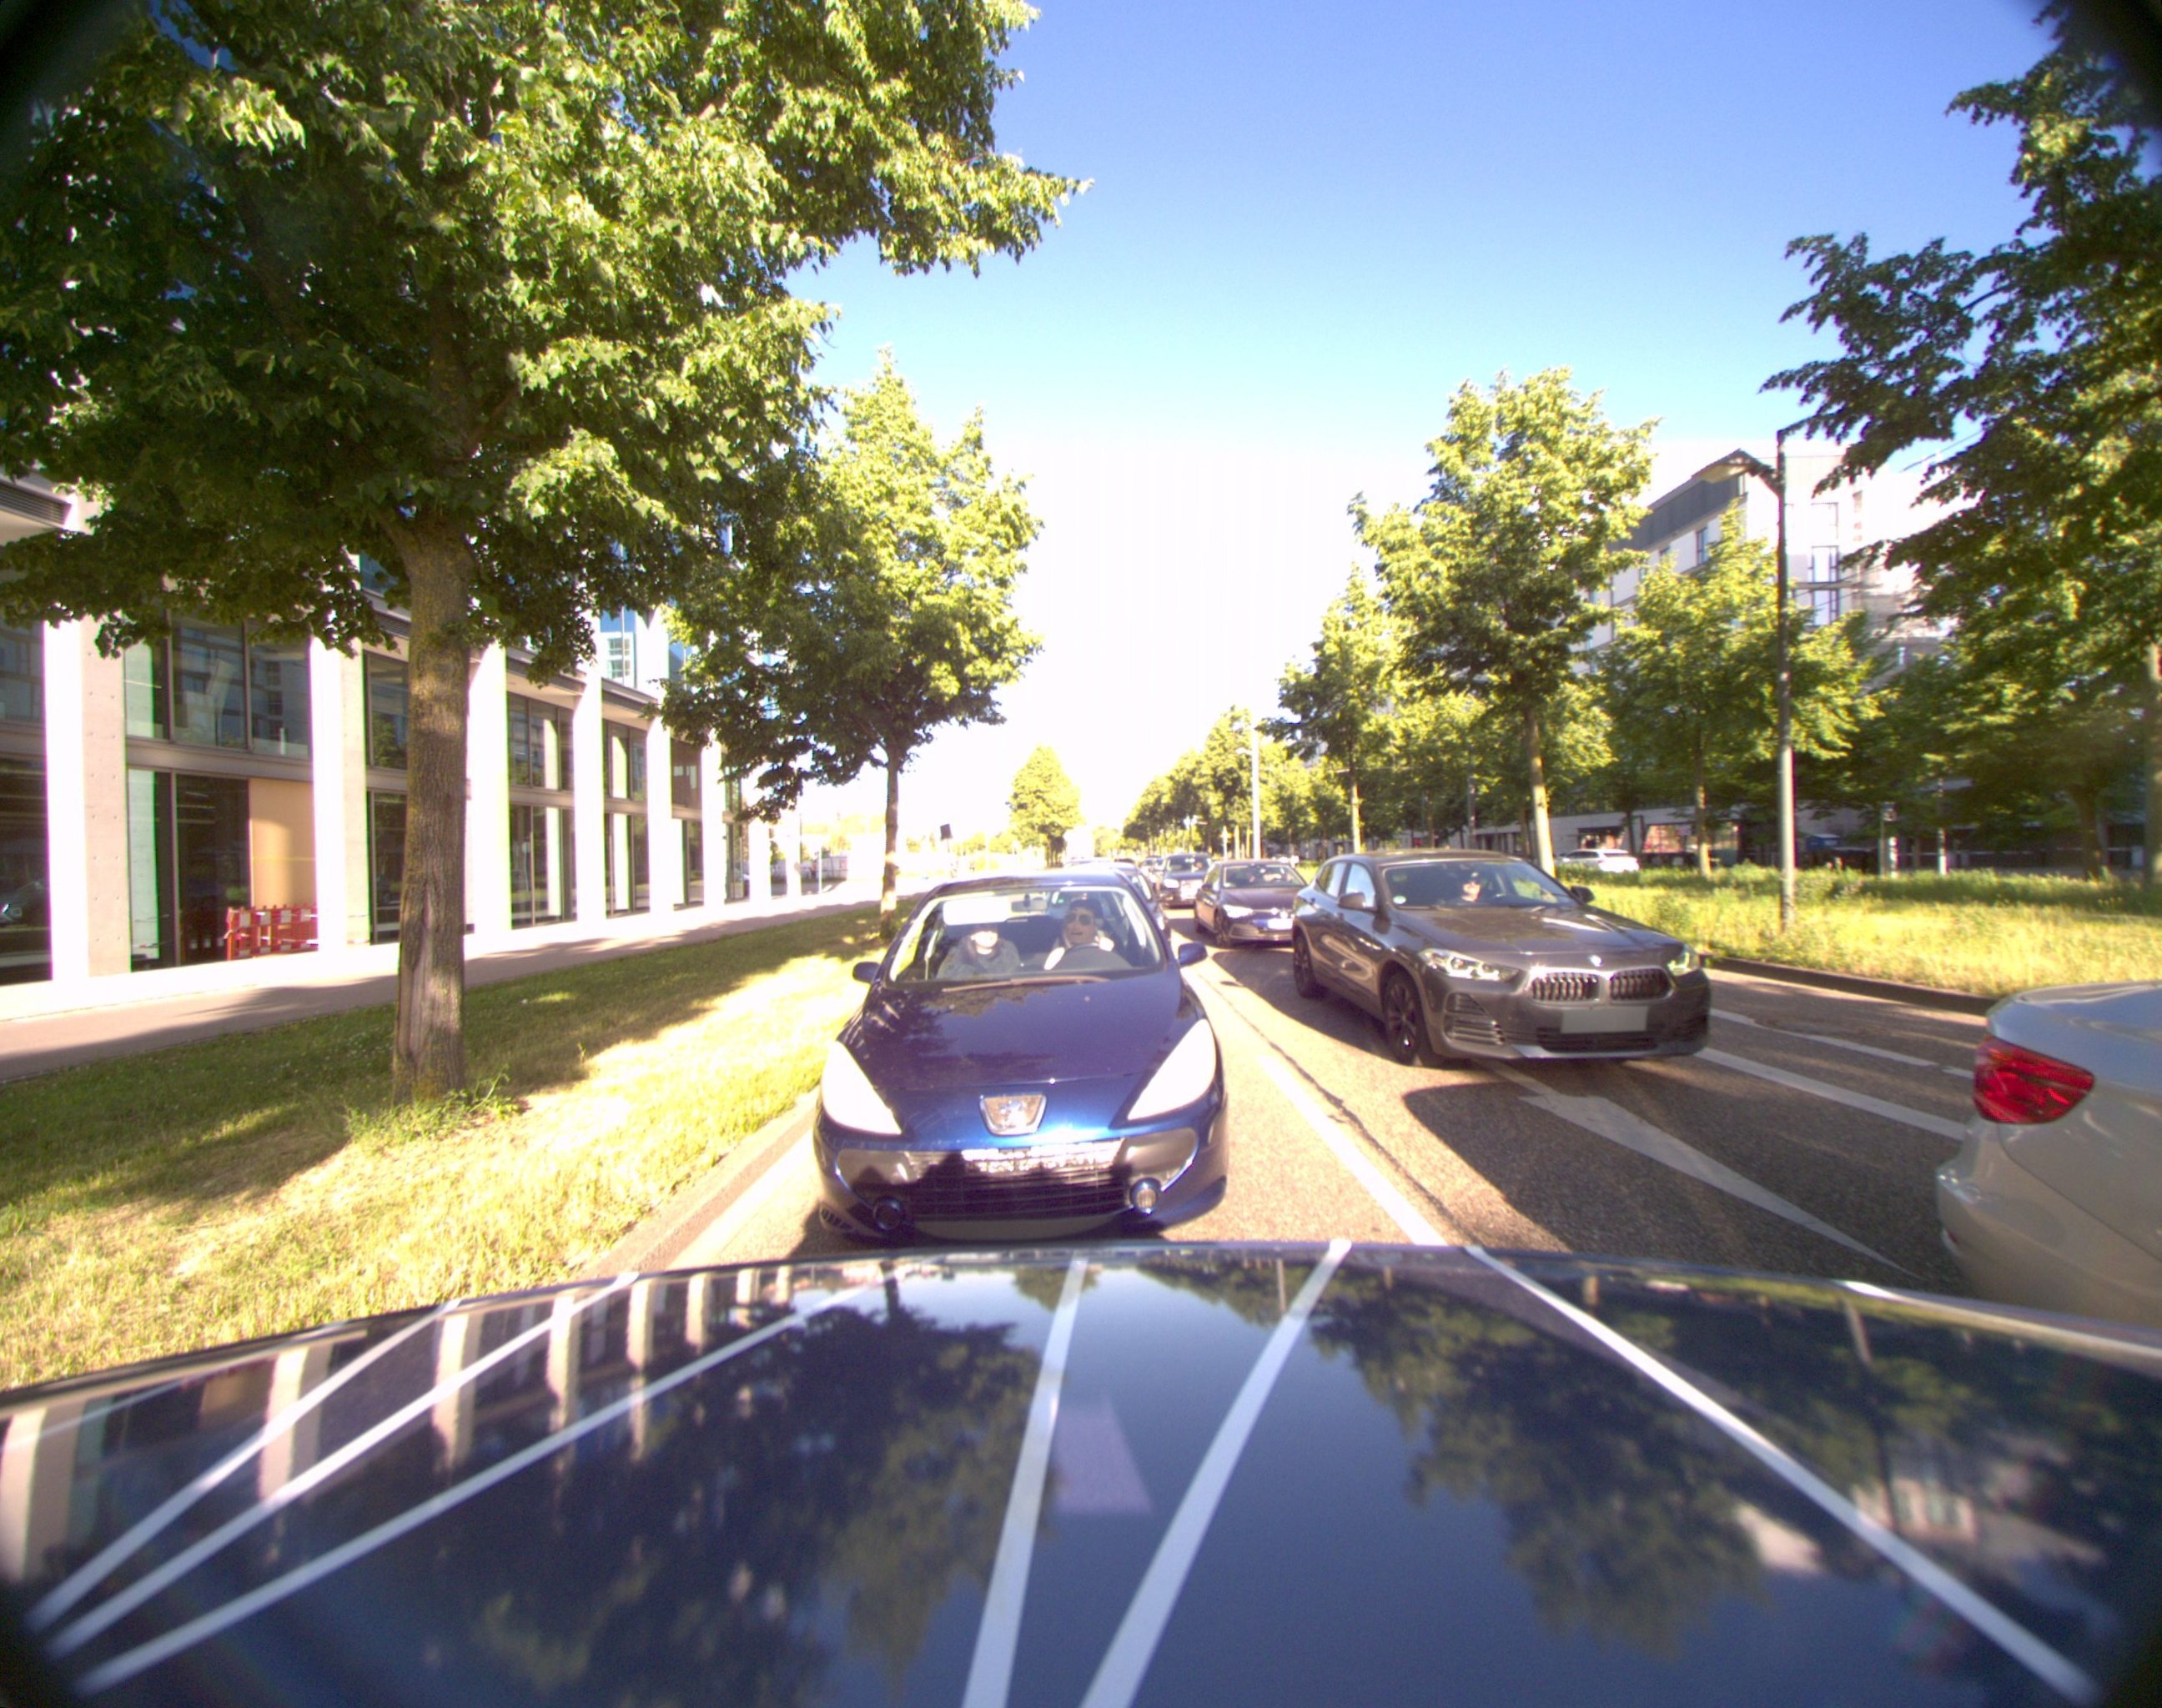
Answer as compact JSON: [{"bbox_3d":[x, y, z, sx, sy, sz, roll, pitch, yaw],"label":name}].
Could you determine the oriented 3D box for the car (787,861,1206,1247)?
[{"bbox_3d":[-0.321,0.842,5.014,1.686,1.513,3.785,-1,0,1],"label":"car"}]

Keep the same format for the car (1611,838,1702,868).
[{"bbox_3d":[34.424,-0.045,45.614,1.858,1.674,4.792,-1,0,1],"label":"car"}]

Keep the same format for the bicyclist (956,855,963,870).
[{"bbox_3d":[-10.484,0.743,65.599,0.534,1.282,0.457,-2,1,1],"label":"bicyclist"}]

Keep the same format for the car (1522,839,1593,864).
[{"bbox_3d":[34.837,-0.178,55.738,2.012,1.689,4.791,-1,0,-3],"label":"car"}]

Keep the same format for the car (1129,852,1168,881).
[{"bbox_3d":[4.263,0.746,48.668,2.012,1.689,4.791,-1,0,-1],"label":"car"}]

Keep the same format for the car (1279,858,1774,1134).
[{"bbox_3d":[3.083,0.828,6.375,1.812,1.513,4.029,-1,0,1],"label":"car"}]

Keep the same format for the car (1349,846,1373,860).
[{"bbox_3d":[34.712,-0.170,94.212,1.601,1.659,3.743,-1,0,1],"label":"car"}]

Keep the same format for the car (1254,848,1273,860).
[{"bbox_3d":[28.652,-0.037,119.156,1.858,1.719,4.792,-1,0,1],"label":"car"}]

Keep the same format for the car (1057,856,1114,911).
[{"bbox_3d":[0.165,0.903,24.897,1.705,1.591,3.785,-1,0,1],"label":"car"}]

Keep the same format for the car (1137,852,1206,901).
[{"bbox_3d":[3.380,0.801,29.235,2.012,1.689,4.791,-1,0,-1],"label":"car"}]

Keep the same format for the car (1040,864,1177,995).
[{"bbox_3d":[0.361,0.944,11.374,1.612,1.463,4.395,-1,0,1],"label":"car"}]

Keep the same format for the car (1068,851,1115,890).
[{"bbox_3d":[0.438,0.728,36.045,2.012,1.689,4.791,-1,0,-1],"label":"car"}]

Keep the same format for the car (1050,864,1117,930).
[{"bbox_3d":[0.086,0.937,18.185,1.407,1.326,3.785,-1,0,1],"label":"car"}]

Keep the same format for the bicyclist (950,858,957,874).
[{"bbox_3d":[-10.274,0.945,61.372,0.448,1.282,0.418,-2,1,1],"label":"bicyclist"}]

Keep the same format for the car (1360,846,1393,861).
[{"bbox_3d":[34.702,-0.059,89.383,2.012,1.689,4.791,-1,0,-1],"label":"car"}]

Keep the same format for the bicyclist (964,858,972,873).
[{"bbox_3d":[-9.147,0.938,61.329,0.534,1.210,0.507,-2,1,1],"label":"bicyclist"}]

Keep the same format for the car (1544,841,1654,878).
[{"bbox_3d":[23.699,0.232,35.023,1.858,1.528,4.735,-1,0,1],"label":"car"}]

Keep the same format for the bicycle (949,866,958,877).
[{"bbox_3d":[-10.263,1.405,61.337,0.415,0.813,1.320,-2,1,1],"label":"bicycle"}]

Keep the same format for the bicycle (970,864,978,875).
[{"bbox_3d":[-9.202,1.329,65.501,0.464,0.813,1.344,-2,1,1],"label":"bicycle"}]

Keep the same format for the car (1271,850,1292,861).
[{"bbox_3d":[25.947,0.192,98.402,1.666,1.384,4.000,-1,0,1],"label":"car"}]

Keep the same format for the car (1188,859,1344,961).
[{"bbox_3d":[3.050,0.848,13.445,1.812,1.445,4.254,-1,0,2],"label":"car"}]

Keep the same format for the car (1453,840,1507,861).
[{"bbox_3d":[34.634,-0.279,66.076,2.012,1.689,4.791,-1,0,-3],"label":"car"}]

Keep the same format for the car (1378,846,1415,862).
[{"bbox_3d":[34.670,-0.008,83.577,2.012,1.689,4.791,-1,0,-1],"label":"car"}]

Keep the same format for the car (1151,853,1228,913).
[{"bbox_3d":[3.127,0.795,22.692,1.812,1.581,4.165,-1,0,2],"label":"car"}]

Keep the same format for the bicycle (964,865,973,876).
[{"bbox_3d":[-9.087,1.360,61.307,0.464,0.813,1.344,-2,1,1],"label":"bicycle"}]

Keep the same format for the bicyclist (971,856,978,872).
[{"bbox_3d":[-9.195,0.856,65.541,0.534,1.282,0.521,-2,1,1],"label":"bicyclist"}]

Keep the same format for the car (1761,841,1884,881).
[{"bbox_3d":[34.193,0.297,35.202,1.858,1.739,4.000,-1,0,1],"label":"car"}]

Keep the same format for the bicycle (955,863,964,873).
[{"bbox_3d":[-10.473,1.203,65.513,0.464,0.813,1.344,-2,1,1],"label":"bicycle"}]
